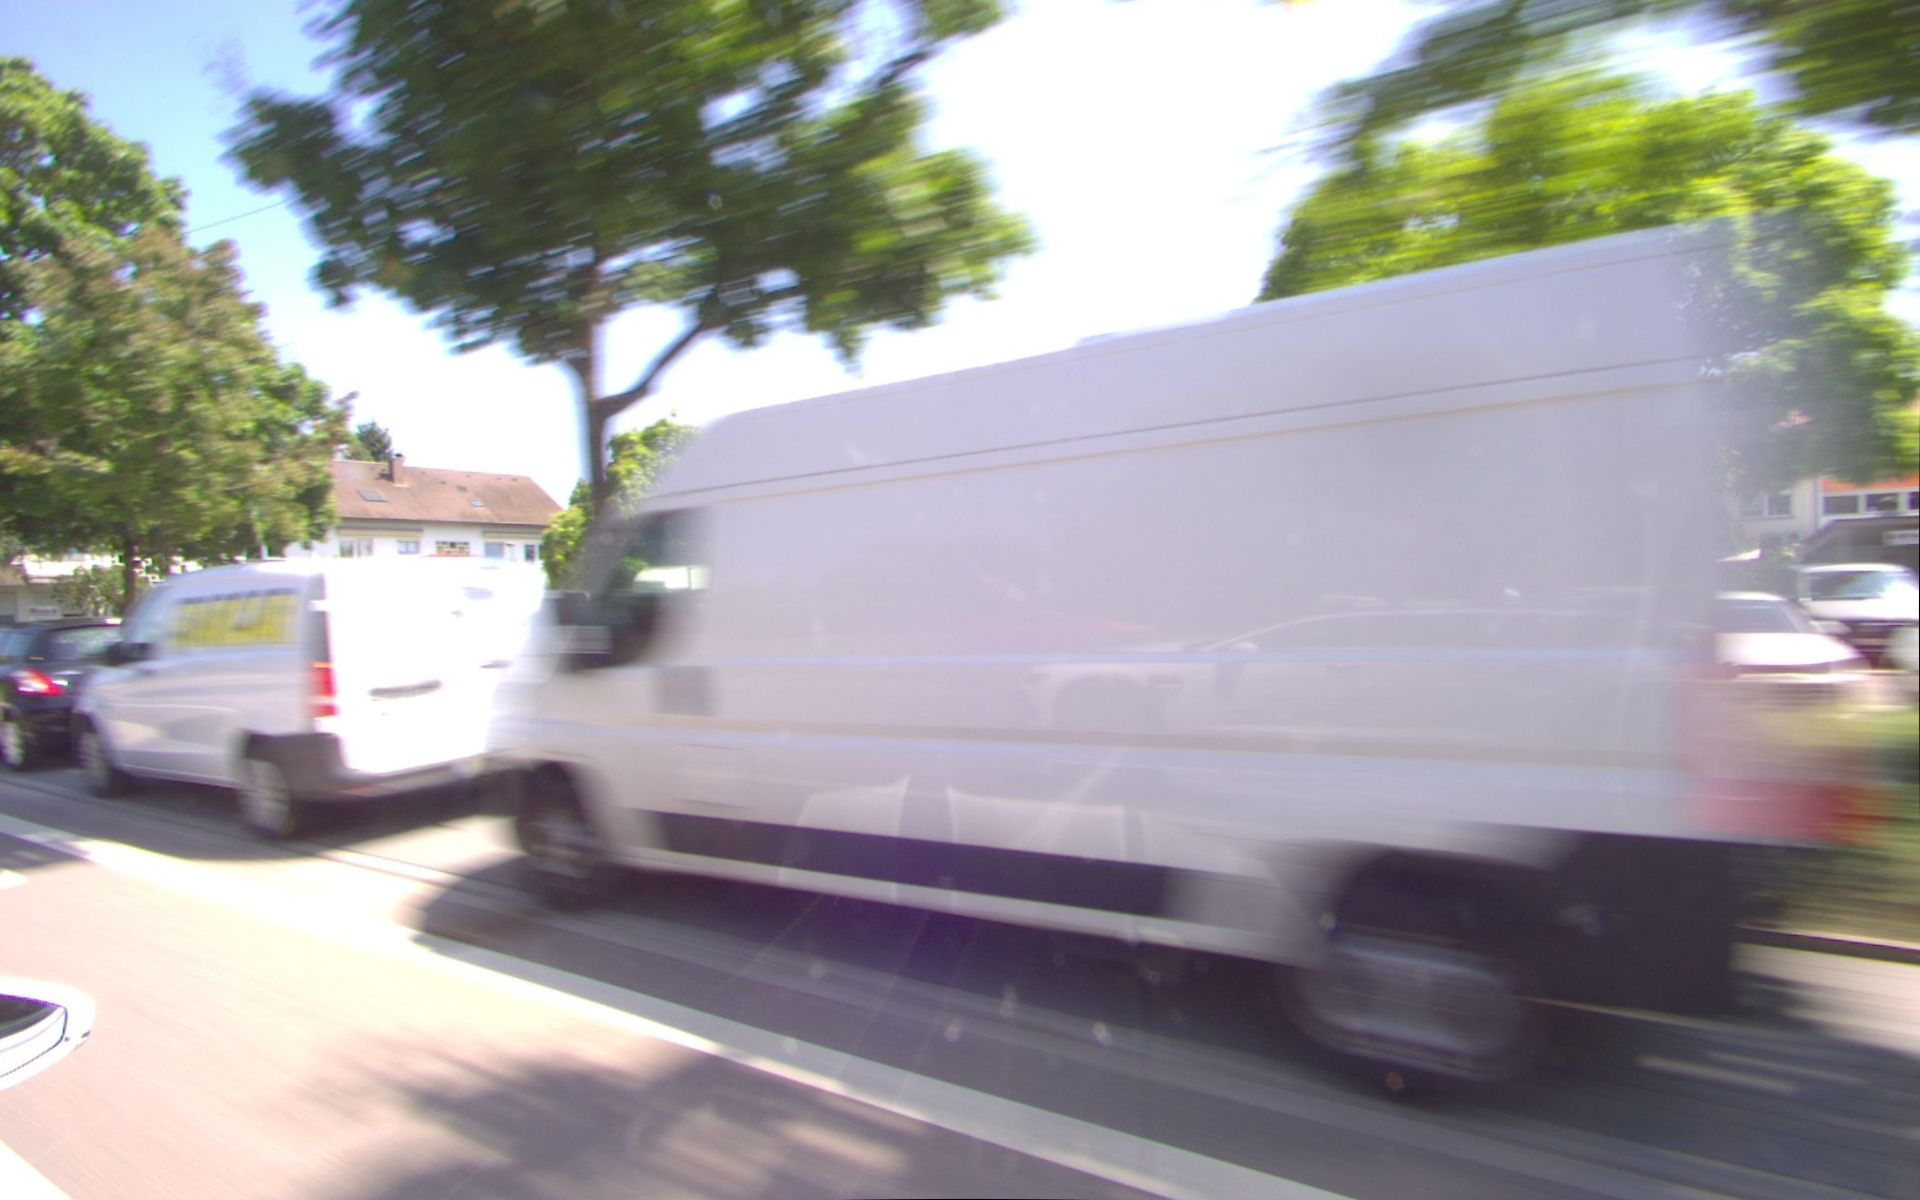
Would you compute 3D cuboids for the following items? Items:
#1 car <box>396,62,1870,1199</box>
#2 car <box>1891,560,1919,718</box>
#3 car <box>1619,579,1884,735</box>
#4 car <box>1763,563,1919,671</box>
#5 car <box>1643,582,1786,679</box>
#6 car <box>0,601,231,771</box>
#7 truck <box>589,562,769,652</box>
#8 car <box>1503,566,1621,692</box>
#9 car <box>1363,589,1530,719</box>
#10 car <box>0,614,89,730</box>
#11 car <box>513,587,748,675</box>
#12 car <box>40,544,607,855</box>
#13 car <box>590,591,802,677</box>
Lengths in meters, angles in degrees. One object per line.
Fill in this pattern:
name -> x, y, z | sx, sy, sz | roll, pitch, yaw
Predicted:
car -> 0.049, 0.098, 4.793 | 6.054, 2.673, 1.992 | -1, 3, 32
car -> 11.373, 0.402, 10.101 | 1.924, 1.807, 3.778 | -1, -2, 27
car -> 8.765, 0.597, 11.477 | 1.702, 1.424, 4.273 | -1, -2, 29
car -> 18.054, 0.249, 20.383 | 2.065, 1.902, 5.083 | -1, 2, 32
car -> 16.382, 0.567, 21.999 | 2.065, 1.776, 5.083 | -1, 2, 32
car -> -10.180, 0.850, 11.442 | 3.786, 1.562, 1.707 | -1, 3, 34
truck -> -10.696, 0.159, 38.855 | 2.389, 3.127, 6.932 | -1, 2, 31
car -> 13.745, 0.517, 22.816 | 2.065, 2.493, 5.476 | -1, 2, 32
car -> 6.431, 0.658, 13.080 | 1.702, 1.424, 3.883 | -1, -2, 29
car -> -14.371, 0.981, 14.087 | 4.638, 1.438, 1.709 | -1, 3, 30
car -> -6.923, 0.677, 21.560 | 1.926, 1.665, 4.684 | -1, -2, 32
car -> -5.493, 0.595, 8.387 | 5.202, 1.904, 1.991 | -1, 3, 34
car -> -5.075, 0.663, 19.781 | 1.743, 1.509, 4.017 | -1, -2, 30
